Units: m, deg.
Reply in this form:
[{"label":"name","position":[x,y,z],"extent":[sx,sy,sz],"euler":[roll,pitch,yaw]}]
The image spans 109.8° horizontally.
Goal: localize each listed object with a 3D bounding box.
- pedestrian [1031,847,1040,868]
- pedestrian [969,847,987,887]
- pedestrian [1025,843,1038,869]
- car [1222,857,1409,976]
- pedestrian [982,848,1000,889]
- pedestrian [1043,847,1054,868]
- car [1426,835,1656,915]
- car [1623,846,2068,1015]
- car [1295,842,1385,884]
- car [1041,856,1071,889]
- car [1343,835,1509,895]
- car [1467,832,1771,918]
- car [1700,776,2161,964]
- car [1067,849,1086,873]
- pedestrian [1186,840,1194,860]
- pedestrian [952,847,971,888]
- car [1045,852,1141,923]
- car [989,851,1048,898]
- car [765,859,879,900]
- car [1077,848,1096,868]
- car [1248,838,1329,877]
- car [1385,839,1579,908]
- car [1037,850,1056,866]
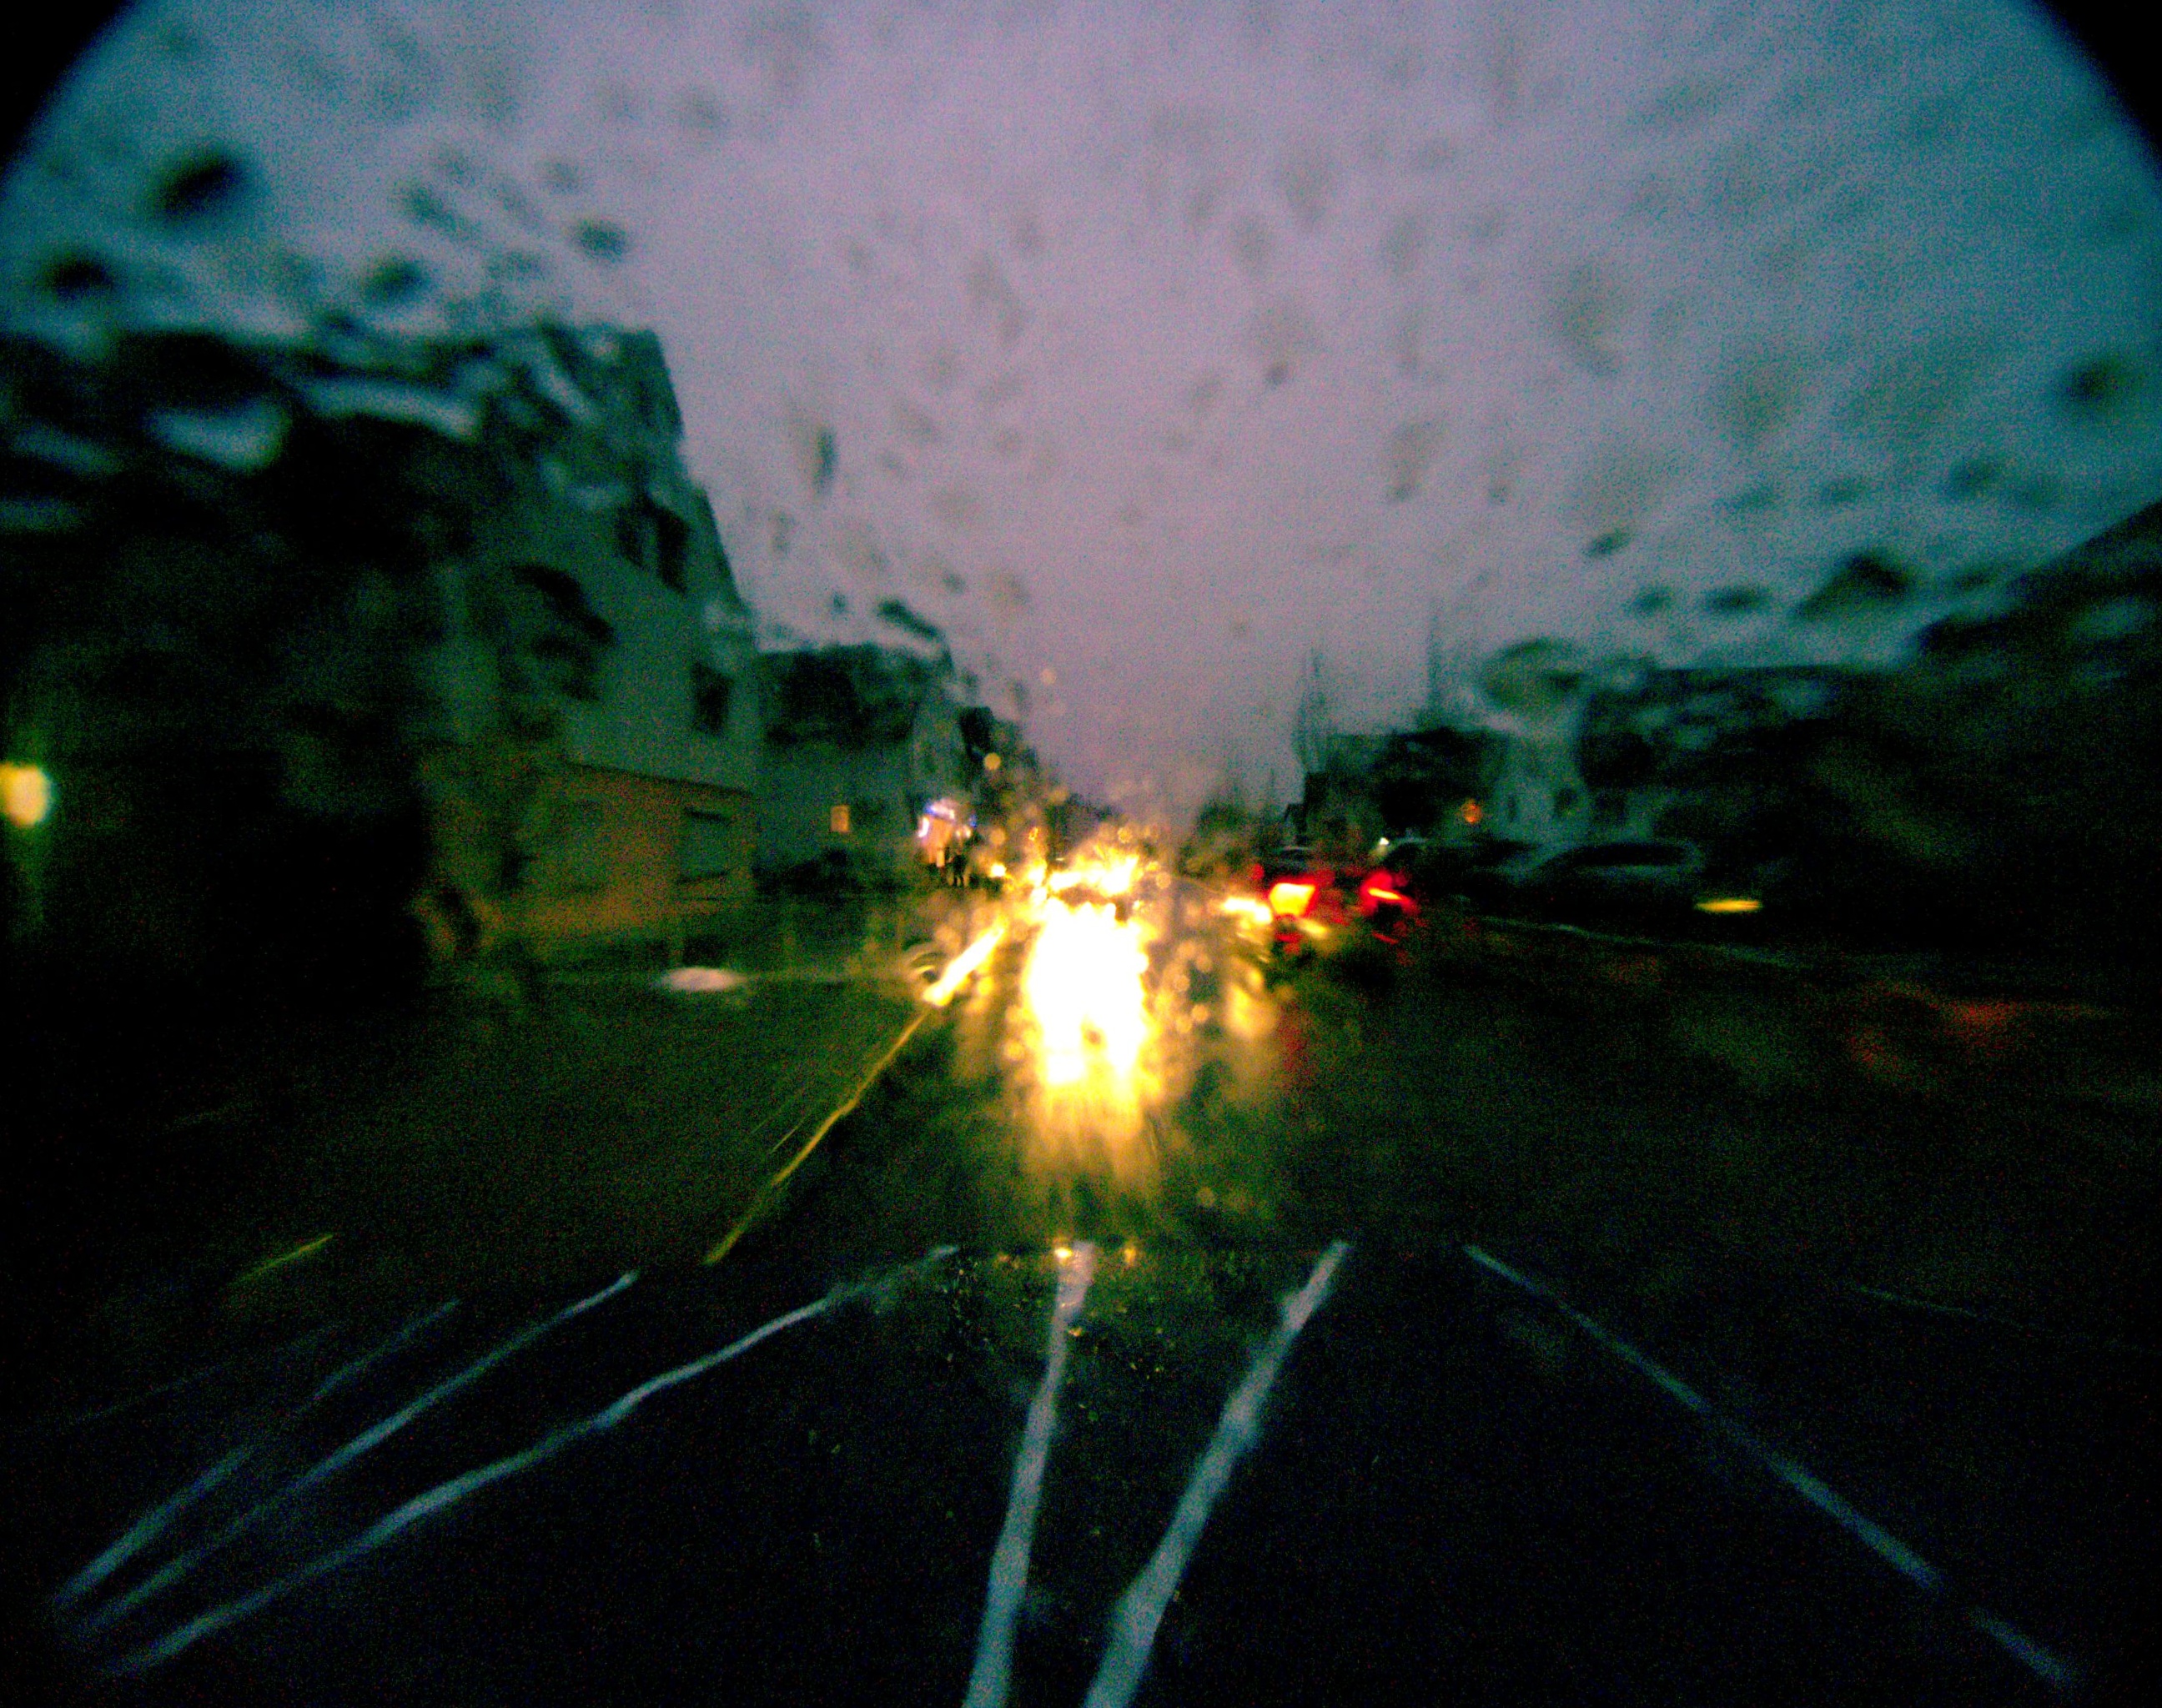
[{"label":"pedestrian","position":[-3.487,0.291,58.312],"extent":[0.656,1.596,0.723],"euler":[0,1,4]},{"label":"pedestrian","position":[-4.678,0.594,34.492],"extent":[0.649,1.786,0.508],"euler":[1,0,13]},{"label":"pedestrian","position":[-3.395,0.156,51.941],"extent":[0.819,1.754,1.060],"euler":[0,1,1]},{"label":"car","position":[3.272,0.783,11.370],"extent":[1.623,1.471,3.839],"euler":[1,0,0]},{"label":"pedestrian","position":[-3.851,0.615,32.446],"extent":[0.650,1.711,0.469],"euler":[1,0,7]},{"label":"pedestrian","position":[-2.517,0.296,59.057],"extent":[0.731,1.596,0.723],"euler":[0,1,4]},{"label":"car","position":[11.294,0.488,18.915],"extent":[4.513,1.856,2.000],"euler":[0,0,1]},{"label":"car","position":[9.829,0.924,10.032],"extent":[4.038,1.940,1.750],"euler":[1,0,1]},{"label":"car","position":[12.769,0.440,37.626],"extent":[3.804,1.940,1.750],"euler":[1,0,1]},{"label":"car","position":[-1.579,1.158,48.983],"extent":[1.748,2.002,3.808],"euler":[1,0,1]},{"label":"car","position":[10.814,0.329,24.037],"extent":[4.424,1.791,1.845],"euler":[0,0,1]},{"label":"car","position":[11.032,0.433,15.900],"extent":[4.876,1.674,2.001],"euler":[0,-1,3]},{"label":"car","position":[9.153,0.141,7.773],"extent":[3.997,1.674,2.000],"euler":[0,0,1]},{"label":"car","position":[-0.395,0.585,66.305],"extent":[1.531,2.002,4.000],"euler":[0,0,2]},{"label":"pedestrian","position":[11.031,-0.372,76.722],"extent":[0.674,2.002,0.604],"euler":[-2,1,1]},{"label":"pedestrian","position":[-5.011,0.570,31.976],"extent":[0.609,1.711,0.651],"euler":[1,0,7]},{"label":"car","position":[0.441,0.797,20.691],"extent":[2.269,1.633,5.066],"euler":[-1,1,4]},{"label":"car","position":[-2.486,0.786,31.426],"extent":[1.998,1.774,4.520],"euler":[0,0,1]},{"label":"car","position":[-9.407,0.907,27.667],"extent":[3.555,1.378,1.662],"euler":[1,0,13]},{"label":"car","position":[0.517,0.390,78.266],"extent":[1.865,2.002,3.843],"euler":[0,0,-1]},{"label":"car","position":[10.966,0.192,40.309],"extent":[3.804,1.940,1.750],"euler":[1,0,1]},{"label":"car","position":[11.212,0.524,21.485],"extent":[4.513,1.856,1.868],"euler":[0,0,1]},{"label":"car","position":[-3.912,0.459,85.773],"extent":[1.781,1.805,3.997],"euler":[0,0,-8]}]
